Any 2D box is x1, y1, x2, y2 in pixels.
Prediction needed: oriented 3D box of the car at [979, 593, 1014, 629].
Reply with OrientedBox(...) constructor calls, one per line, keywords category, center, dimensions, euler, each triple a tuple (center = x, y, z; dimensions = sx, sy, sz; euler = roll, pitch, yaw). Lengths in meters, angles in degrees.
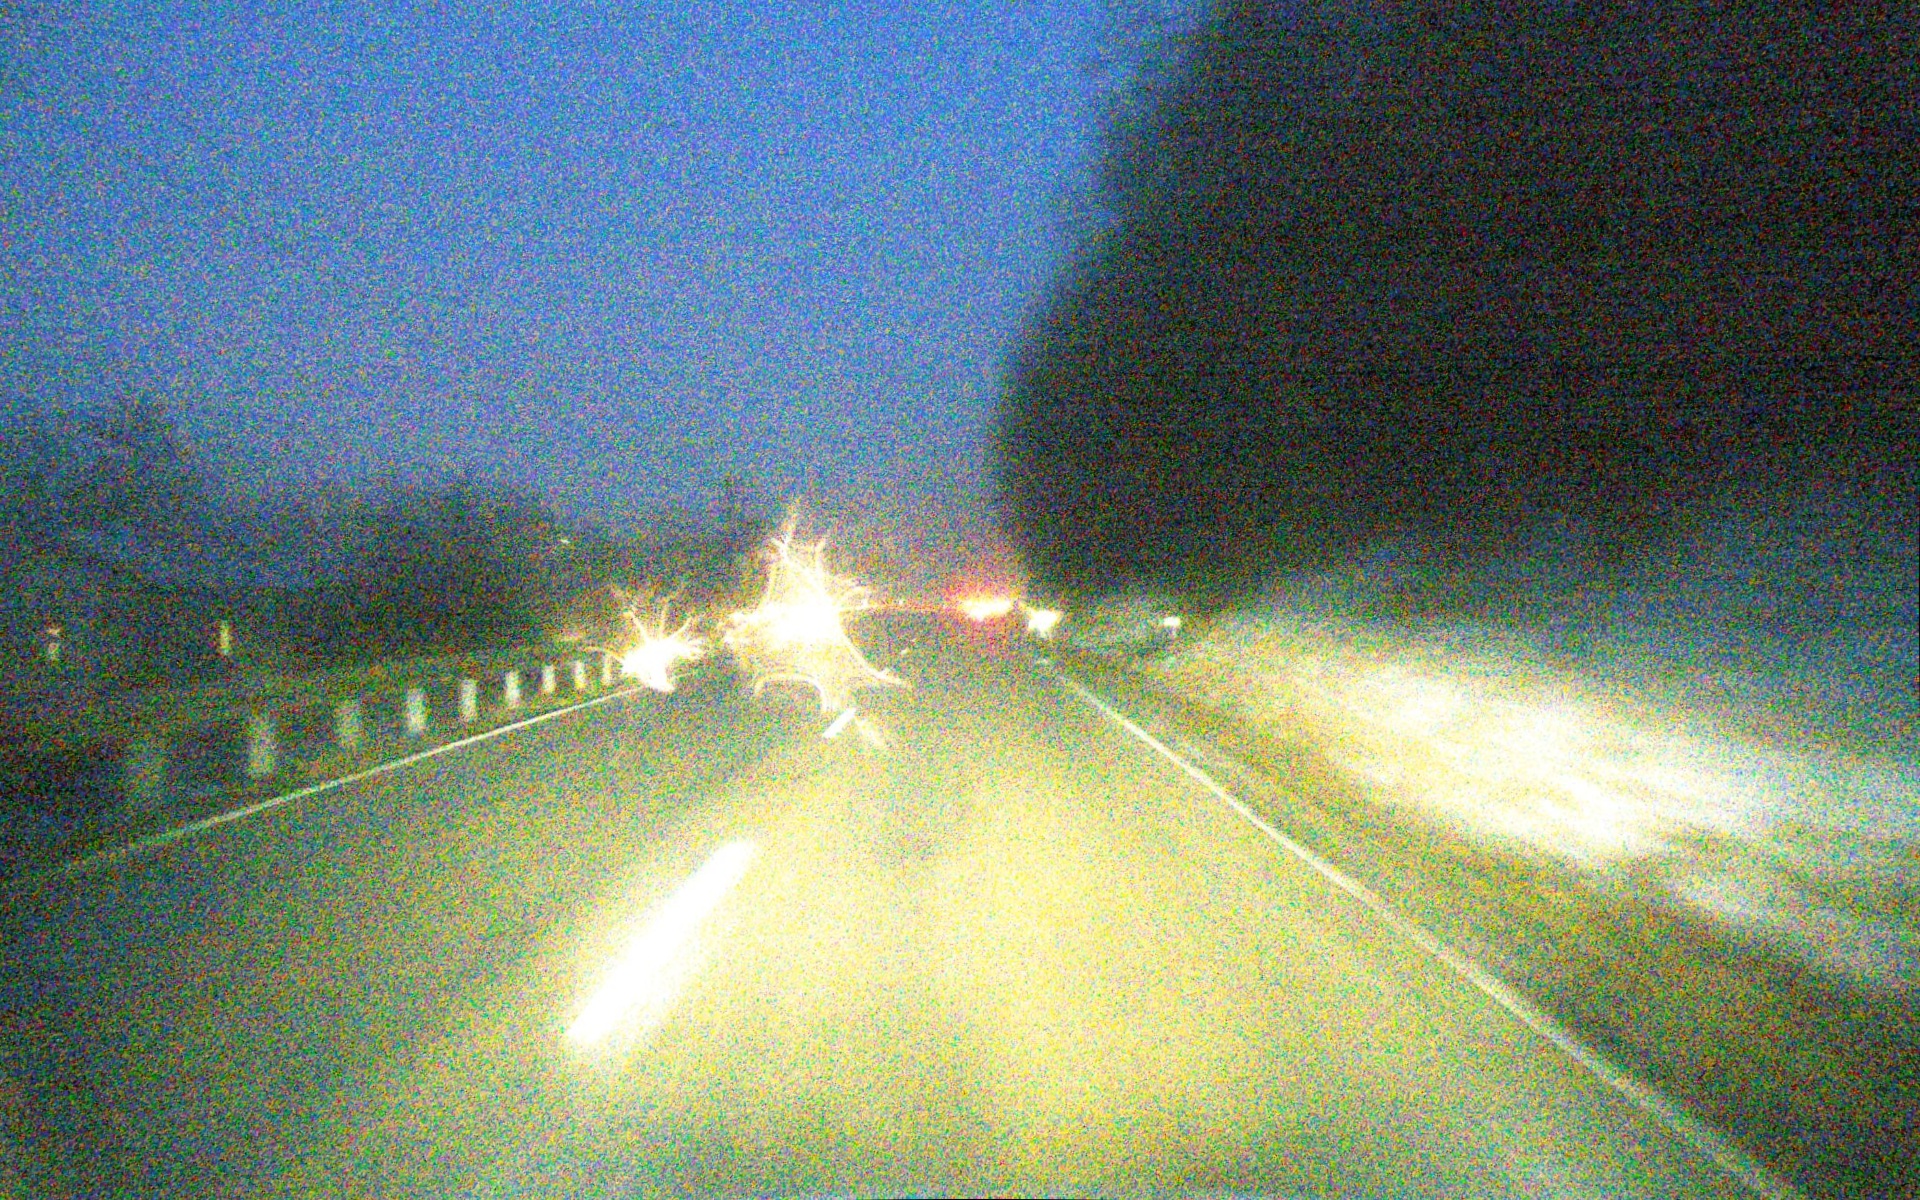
OrientedBox(category="car", center=(2.293, 0.703, 103.861), dimensions=(2.152, 2.049, 4.206), euler=(1, -3, 1))
